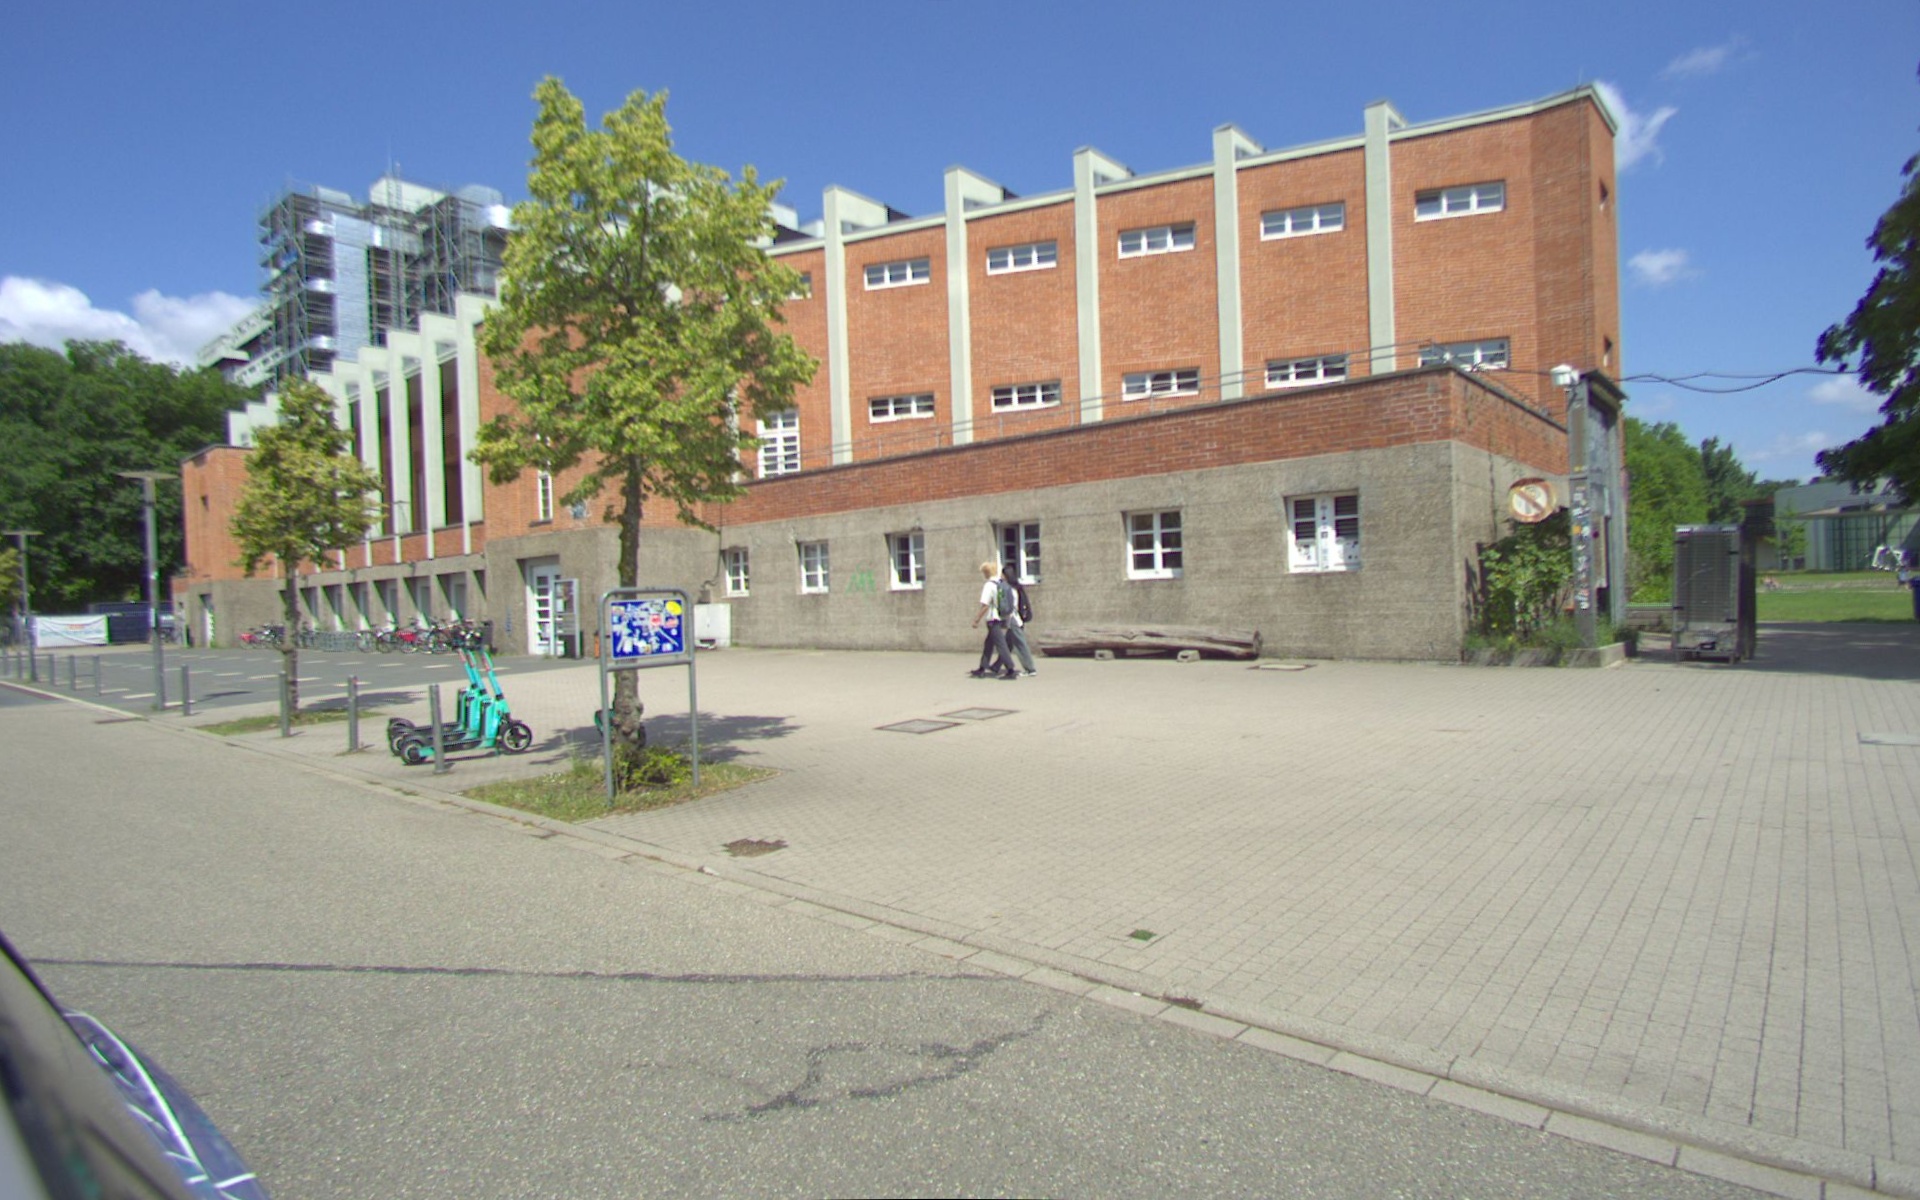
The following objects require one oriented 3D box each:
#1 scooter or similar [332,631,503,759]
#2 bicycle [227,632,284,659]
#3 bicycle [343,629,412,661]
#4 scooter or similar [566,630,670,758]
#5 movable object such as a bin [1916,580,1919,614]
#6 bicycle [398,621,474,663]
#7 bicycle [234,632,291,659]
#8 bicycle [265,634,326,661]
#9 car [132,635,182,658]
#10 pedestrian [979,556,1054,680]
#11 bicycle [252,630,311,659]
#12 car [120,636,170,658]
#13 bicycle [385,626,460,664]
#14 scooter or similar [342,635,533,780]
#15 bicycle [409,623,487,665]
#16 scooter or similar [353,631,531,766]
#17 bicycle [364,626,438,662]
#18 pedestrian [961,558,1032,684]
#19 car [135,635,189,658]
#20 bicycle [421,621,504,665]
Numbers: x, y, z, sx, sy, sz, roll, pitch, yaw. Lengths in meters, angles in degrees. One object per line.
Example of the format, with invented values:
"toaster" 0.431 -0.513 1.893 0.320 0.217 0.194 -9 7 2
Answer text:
"scooter or similar" -5.847 0.998 10.999 1.548 1.234 0.572 -2 0 -22
"bicycle" -30.403 1.963 43.673 0.541 1.038 1.931 -2 0 39
"bicycle" -19.836 1.533 34.495 0.684 0.967 1.931 -2 0 39
"scooter or similar" -3.438 0.898 10.125 0.556 1.157 1.352 -2 0 -37
"movable object such as a bin" 26.853 -0.082 27.984 0.532 0.925 0.489 -2 0 39
"bicycle" -16.062 1.276 31.074 0.439 1.134 1.999 -2 1 44
"bicycle" -29.672 1.939 43.075 0.518 1.038 1.931 -2 0 39
"bicycle" -26.607 1.885 40.552 0.568 0.947 1.931 -2 0 39
"car" -47.202 2.720 59.503 0.524 1.189 2.259 -2 0 42
"pedestrian" 0.851 0.267 15.234 0.917 1.793 0.570 -2 0 40
"bicycle" -27.799 1.811 41.469 0.529 1.038 1.931 -2 0 39
"car" -49.119 2.812 61.032 0.479 1.189 2.294 -2 0 42
"bicycle" -17.100 1.431 32.243 0.621 1.090 1.990 -2 0 39
"scooter or similar" -4.954 0.990 9.690 1.548 1.234 0.526 -2 0 -22
"bicycle" -15.404 1.311 30.485 0.592 1.134 2.000 -2 0 41
"scooter or similar" -5.263 0.971 10.374 1.548 1.234 0.567 -2 0 -22
"bicycle" -18.429 1.447 33.401 0.662 1.069 2.001 -2 0 39
"pedestrian" 0.530 0.302 14.777 0.805 1.775 0.557 -2 0 40
"car" -45.957 2.651 58.283 0.794 1.189 2.337 -2 0 42
"bicycle" -14.255 1.226 29.040 0.666 1.134 2.001 -2 0 39
